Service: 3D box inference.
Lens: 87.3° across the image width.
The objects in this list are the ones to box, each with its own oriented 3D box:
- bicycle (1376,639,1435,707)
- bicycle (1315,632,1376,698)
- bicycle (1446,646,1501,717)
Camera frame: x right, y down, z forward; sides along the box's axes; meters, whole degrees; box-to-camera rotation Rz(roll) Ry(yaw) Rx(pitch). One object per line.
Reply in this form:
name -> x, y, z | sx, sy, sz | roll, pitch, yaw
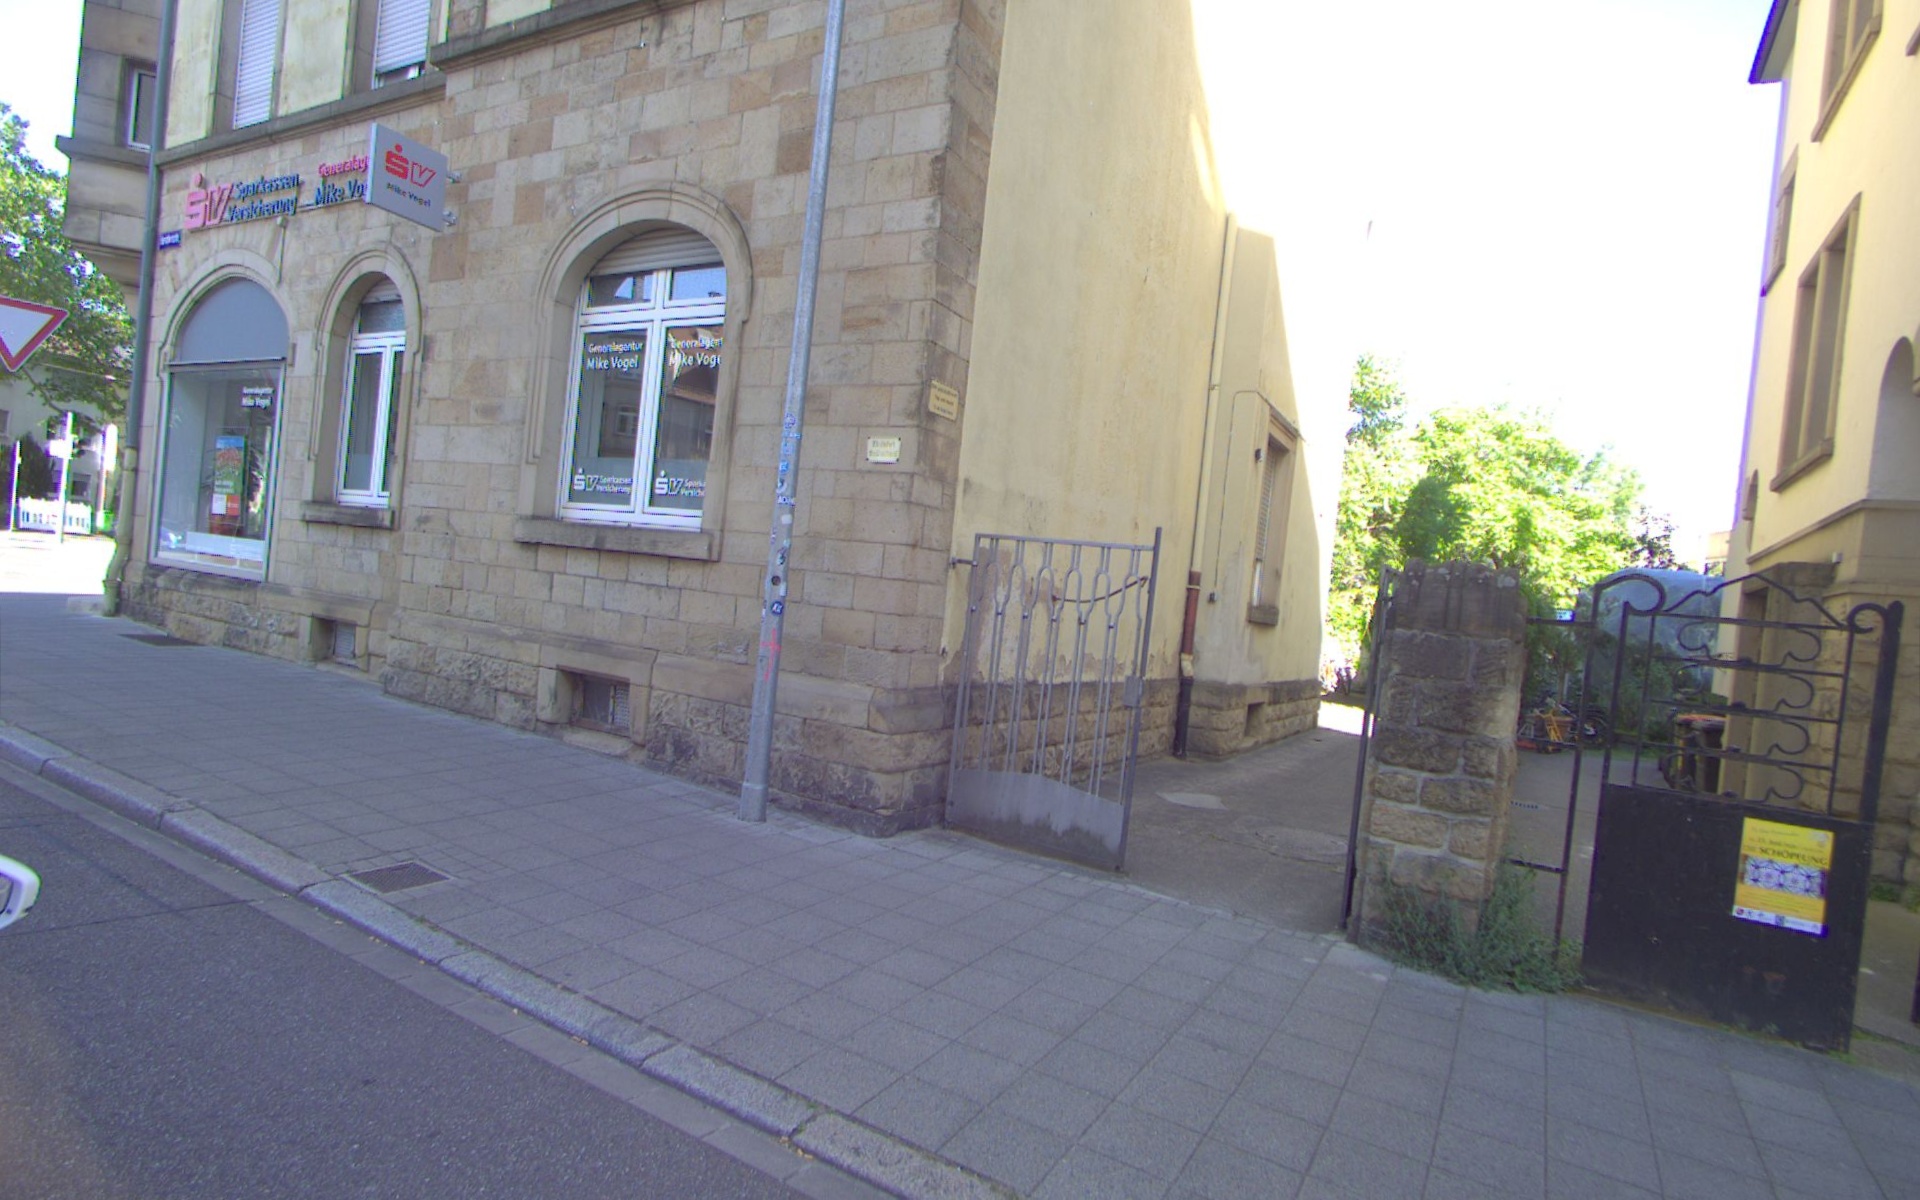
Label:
bicycle -> 11.217, 1.783, 25.254 | 0.904, 1.532, 2.667 | 6, 2, 31
bicycle -> 9.983, 1.647, 25.970 | 0.904, 1.532, 2.667 | 6, 2, 31
bicycle -> 12.602, 1.942, 24.640 | 0.904, 1.532, 2.667 | 6, 2, 31
